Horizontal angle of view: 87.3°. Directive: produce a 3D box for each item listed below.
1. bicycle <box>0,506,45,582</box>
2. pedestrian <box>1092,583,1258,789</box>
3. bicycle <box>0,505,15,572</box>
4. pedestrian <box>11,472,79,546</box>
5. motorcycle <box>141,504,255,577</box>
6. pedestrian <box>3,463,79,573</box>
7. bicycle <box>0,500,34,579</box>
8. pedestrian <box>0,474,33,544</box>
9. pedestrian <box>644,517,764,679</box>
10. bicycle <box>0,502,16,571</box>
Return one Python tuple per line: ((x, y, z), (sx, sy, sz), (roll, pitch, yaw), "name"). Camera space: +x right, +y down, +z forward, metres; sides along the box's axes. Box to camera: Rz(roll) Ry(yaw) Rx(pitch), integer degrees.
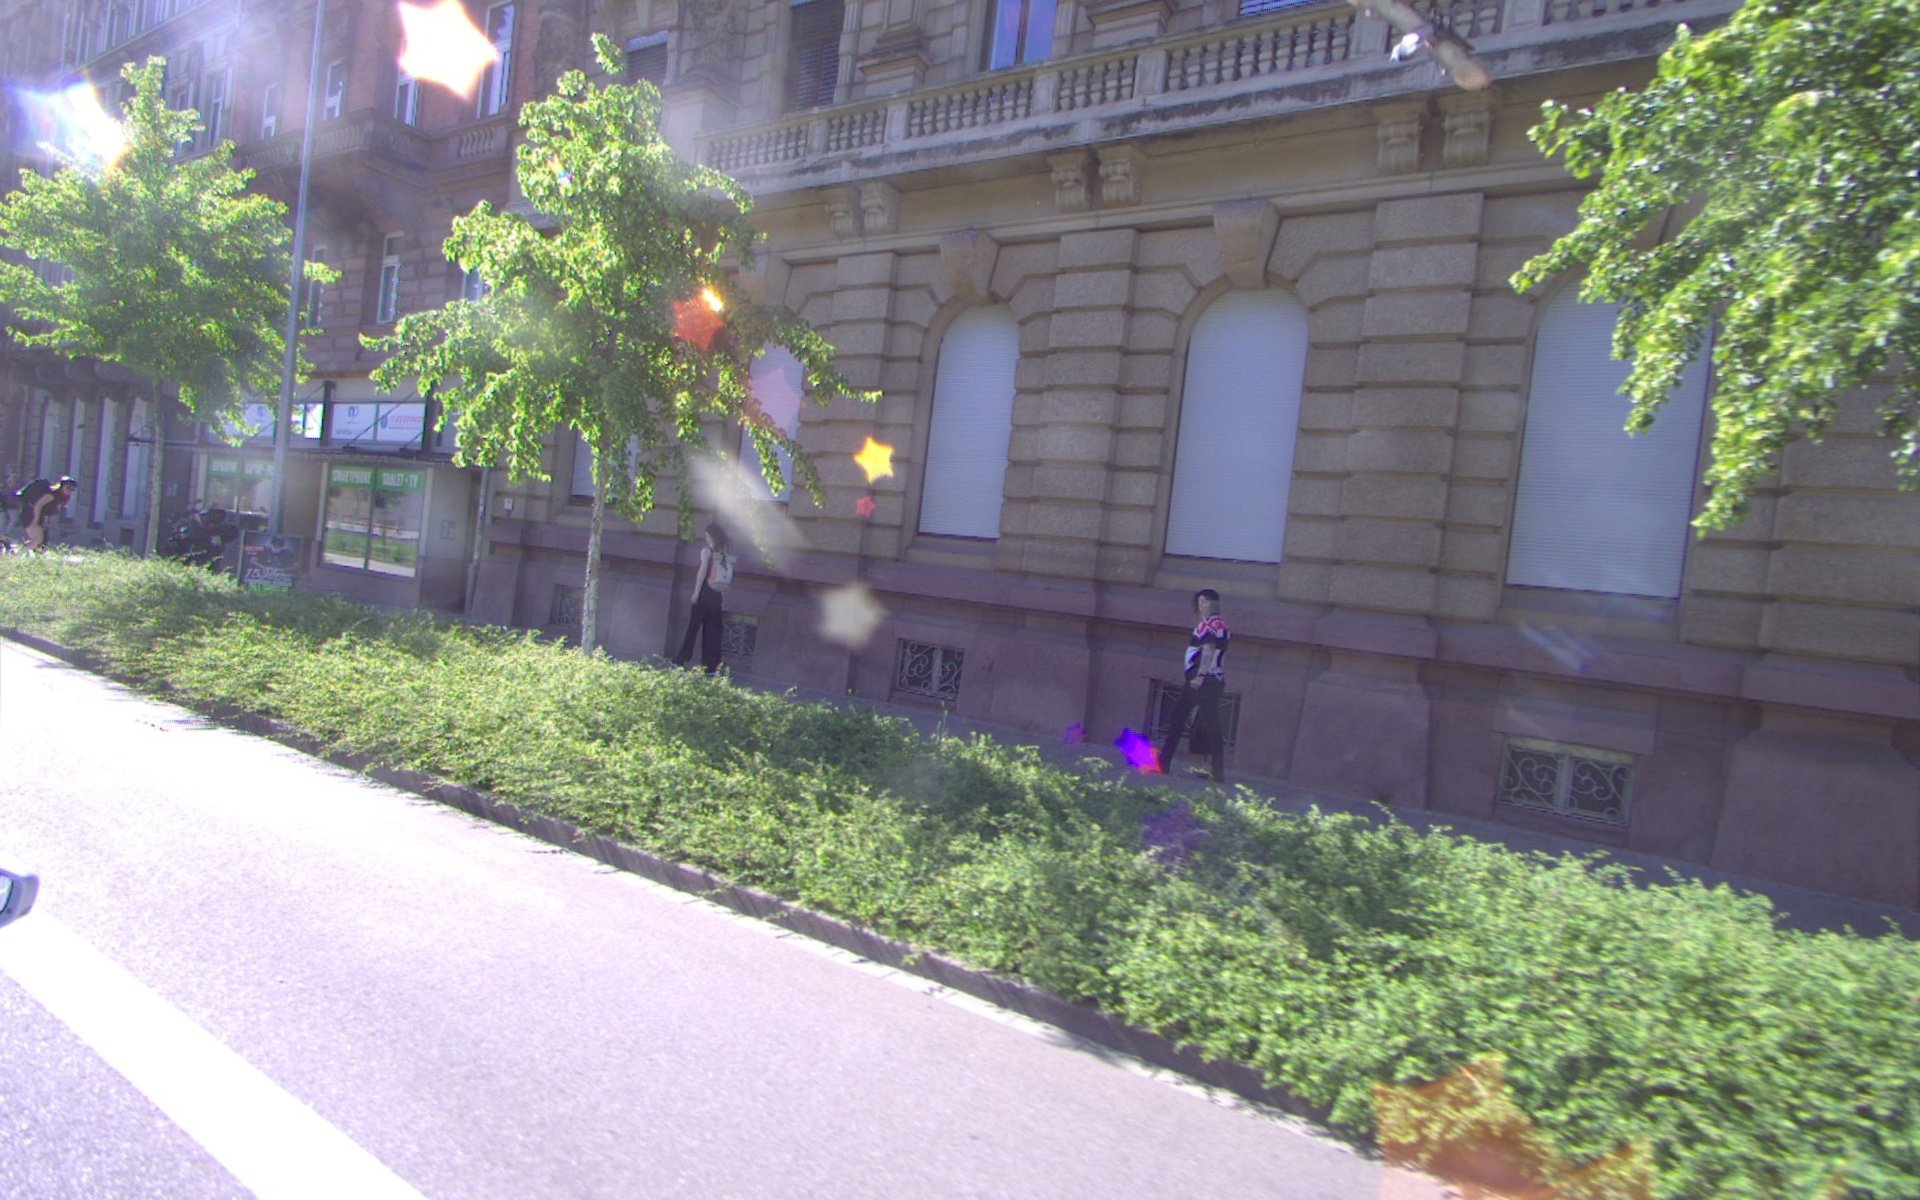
((-14.971, -0.893, 14.987), (0.509, 1.123, 1.894), (7, 2, 27), "bicycle")
((2.023, 0.762, 9.449), (1.096, 1.715, 0.969), (7, 3, 33), "pedestrian")
((-16.166, -1.037, 15.795), (0.561, 1.069, 1.817), (7, 2, 26), "bicycle")
((-22.915, -2.273, 25.202), (0.976, 1.661, 0.971), (8, 3, 32), "pedestrian")
((-16.360, -1.300, 21.562), (2.932, 1.281, 0.867), (6, 0, 32), "motorcycle")
((-15.643, -1.391, 17.140), (0.894, 1.760, 0.839), (1, 5, -40), "pedestrian")
((-15.269, -0.986, 15.153), (0.367, 1.194, 1.868), (7, 1, 29), "bicycle")
((-23.236, -2.237, 24.271), (1.062, 1.587, 0.951), (8, 3, 32), "pedestrian")
((-3.312, -0.032, 12.993), (1.081, 1.946, 0.888), (7, 3, 37), "pedestrian")
((-16.424, -1.098, 16.012), (0.428, 1.123, 1.978), (7, 2, 29), "bicycle")
